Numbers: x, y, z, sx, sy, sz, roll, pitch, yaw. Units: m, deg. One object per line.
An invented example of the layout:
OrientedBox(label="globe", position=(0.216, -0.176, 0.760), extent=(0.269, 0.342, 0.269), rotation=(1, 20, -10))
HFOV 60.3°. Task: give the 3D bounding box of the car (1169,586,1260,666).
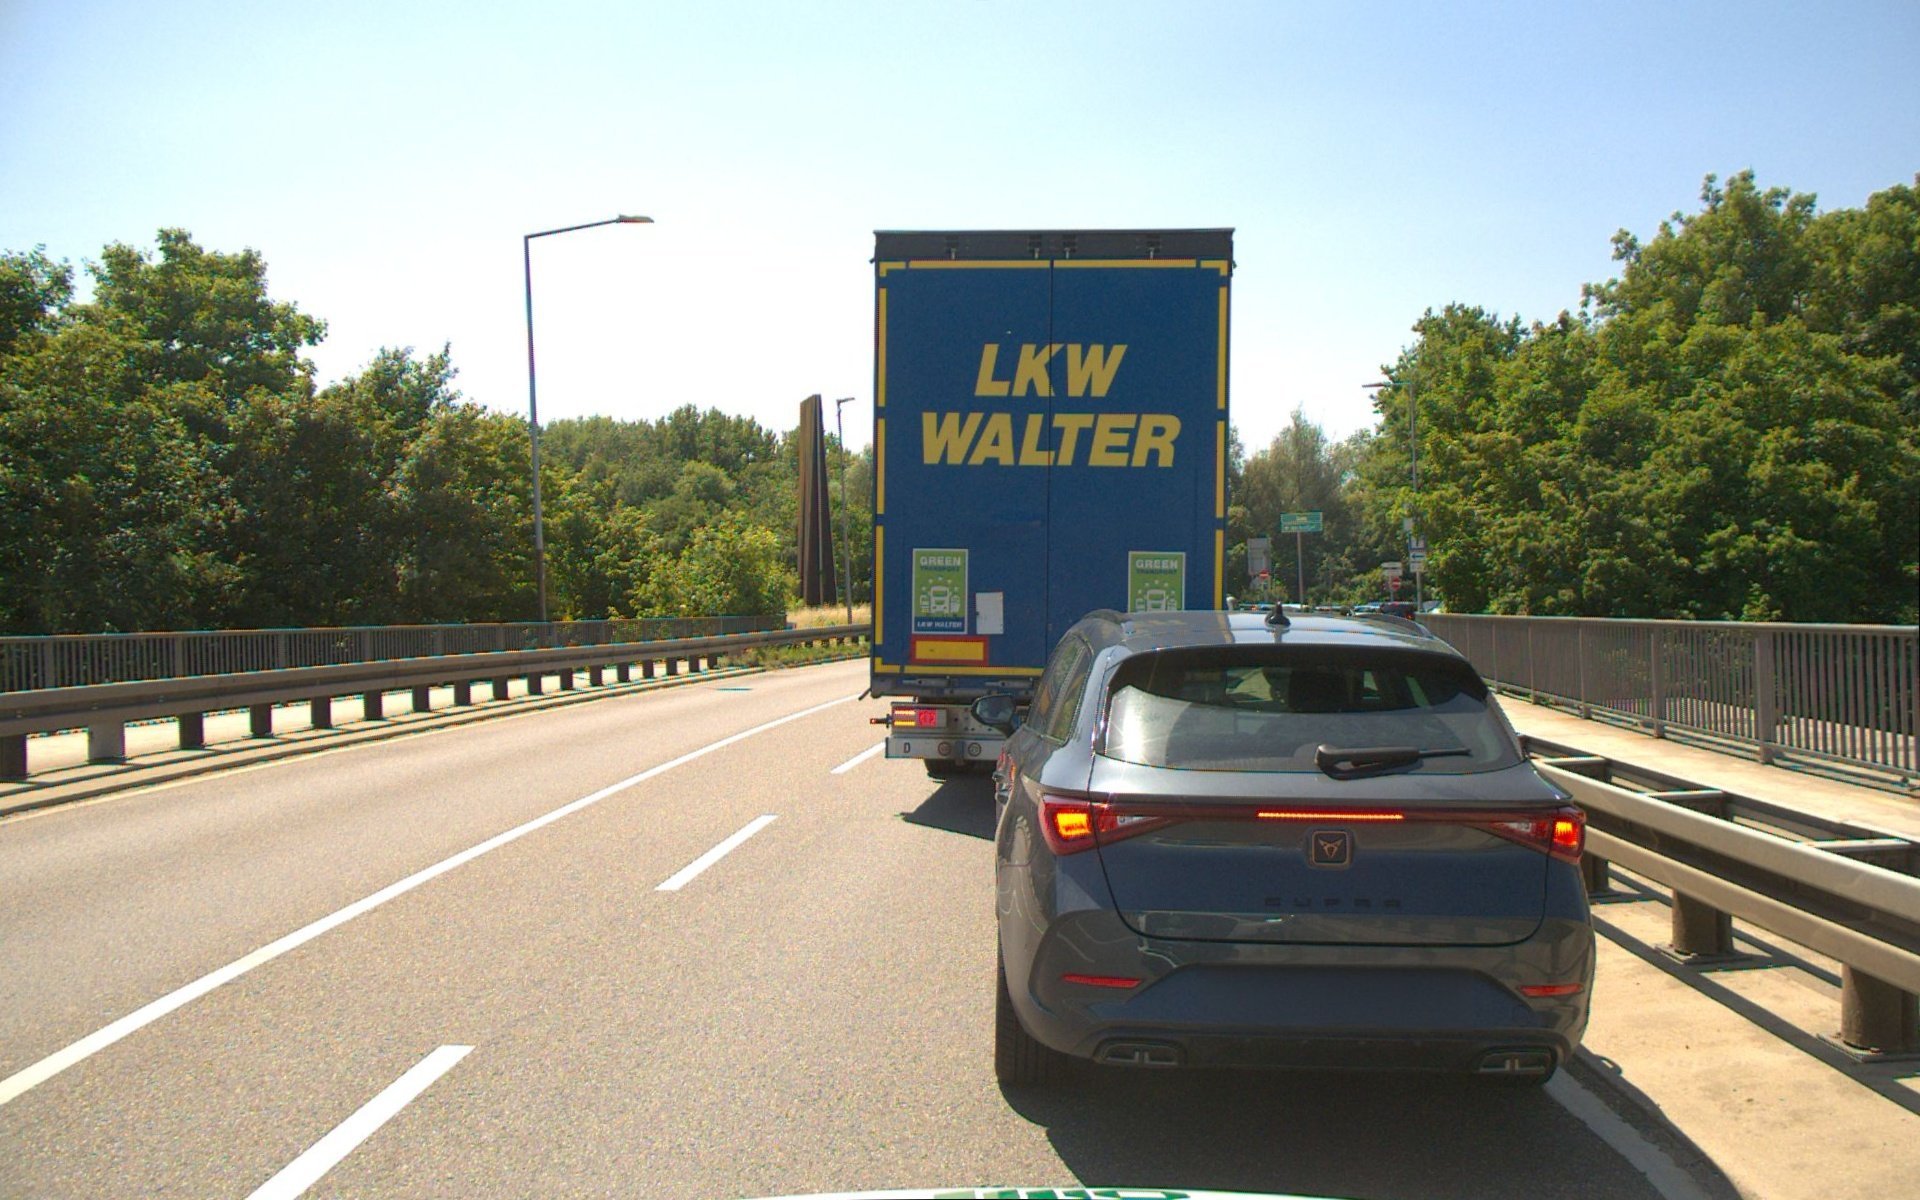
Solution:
OrientedBox(label="car", position=(6.365, 0.587, 41.091), extent=(1.684, 1.876, 4.002), rotation=(0, 1, 17))

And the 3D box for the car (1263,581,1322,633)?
OrientedBox(label="car", position=(12.422, 0.229, 61.695), extent=(1.685, 1.876, 4.002), rotation=(0, 0, 18))

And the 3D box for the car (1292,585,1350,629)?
OrientedBox(label="car", position=(14.951, 0.302, 68.375), extent=(1.651, 1.791, 3.999), rotation=(0, -1, 22))

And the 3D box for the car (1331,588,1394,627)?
OrientedBox(label="car", position=(18.188, 0.363, 74.681), extent=(1.954, 1.603, 3.996), rotation=(2, -1, 26))

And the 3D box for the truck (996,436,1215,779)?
OrientedBox(label="truck", position=(2.309, 0.078, 25.089), extent=(2.843, 4.496, 6.560), rotation=(0, 0, 7))

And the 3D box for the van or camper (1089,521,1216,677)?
OrientedBox(label="van or camper", position=(4.029, -0.034, 33.682), extent=(2.108, 2.865, 6.393), rotation=(0, 0, 11))

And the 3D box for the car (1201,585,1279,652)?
OrientedBox(label="car", position=(8.069, 0.487, 47.435), extent=(1.684, 1.834, 4.002), rotation=(0, 0, 17))

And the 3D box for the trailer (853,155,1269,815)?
OrientedBox(label="trailer", position=(1.414, -0.820, 17.598), extent=(2.843, 4.496, 12.442), rotation=(0, 0, 7))

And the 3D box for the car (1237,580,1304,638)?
OrientedBox(label="car", position=(10.455, 0.272, 55.532), extent=(1.685, 1.876, 4.002), rotation=(0, 0, 18))

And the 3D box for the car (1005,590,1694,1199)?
OrientedBox(label="car", position=(0.985, 0.716, 5.947), extent=(1.642, 1.481, 3.959), rotation=(0, 0, 1))

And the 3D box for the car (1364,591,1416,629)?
OrientedBox(label="car", position=(20.999, 0.491, 80.684), extent=(1.653, 1.791, 3.995), rotation=(0, -1, 28))
